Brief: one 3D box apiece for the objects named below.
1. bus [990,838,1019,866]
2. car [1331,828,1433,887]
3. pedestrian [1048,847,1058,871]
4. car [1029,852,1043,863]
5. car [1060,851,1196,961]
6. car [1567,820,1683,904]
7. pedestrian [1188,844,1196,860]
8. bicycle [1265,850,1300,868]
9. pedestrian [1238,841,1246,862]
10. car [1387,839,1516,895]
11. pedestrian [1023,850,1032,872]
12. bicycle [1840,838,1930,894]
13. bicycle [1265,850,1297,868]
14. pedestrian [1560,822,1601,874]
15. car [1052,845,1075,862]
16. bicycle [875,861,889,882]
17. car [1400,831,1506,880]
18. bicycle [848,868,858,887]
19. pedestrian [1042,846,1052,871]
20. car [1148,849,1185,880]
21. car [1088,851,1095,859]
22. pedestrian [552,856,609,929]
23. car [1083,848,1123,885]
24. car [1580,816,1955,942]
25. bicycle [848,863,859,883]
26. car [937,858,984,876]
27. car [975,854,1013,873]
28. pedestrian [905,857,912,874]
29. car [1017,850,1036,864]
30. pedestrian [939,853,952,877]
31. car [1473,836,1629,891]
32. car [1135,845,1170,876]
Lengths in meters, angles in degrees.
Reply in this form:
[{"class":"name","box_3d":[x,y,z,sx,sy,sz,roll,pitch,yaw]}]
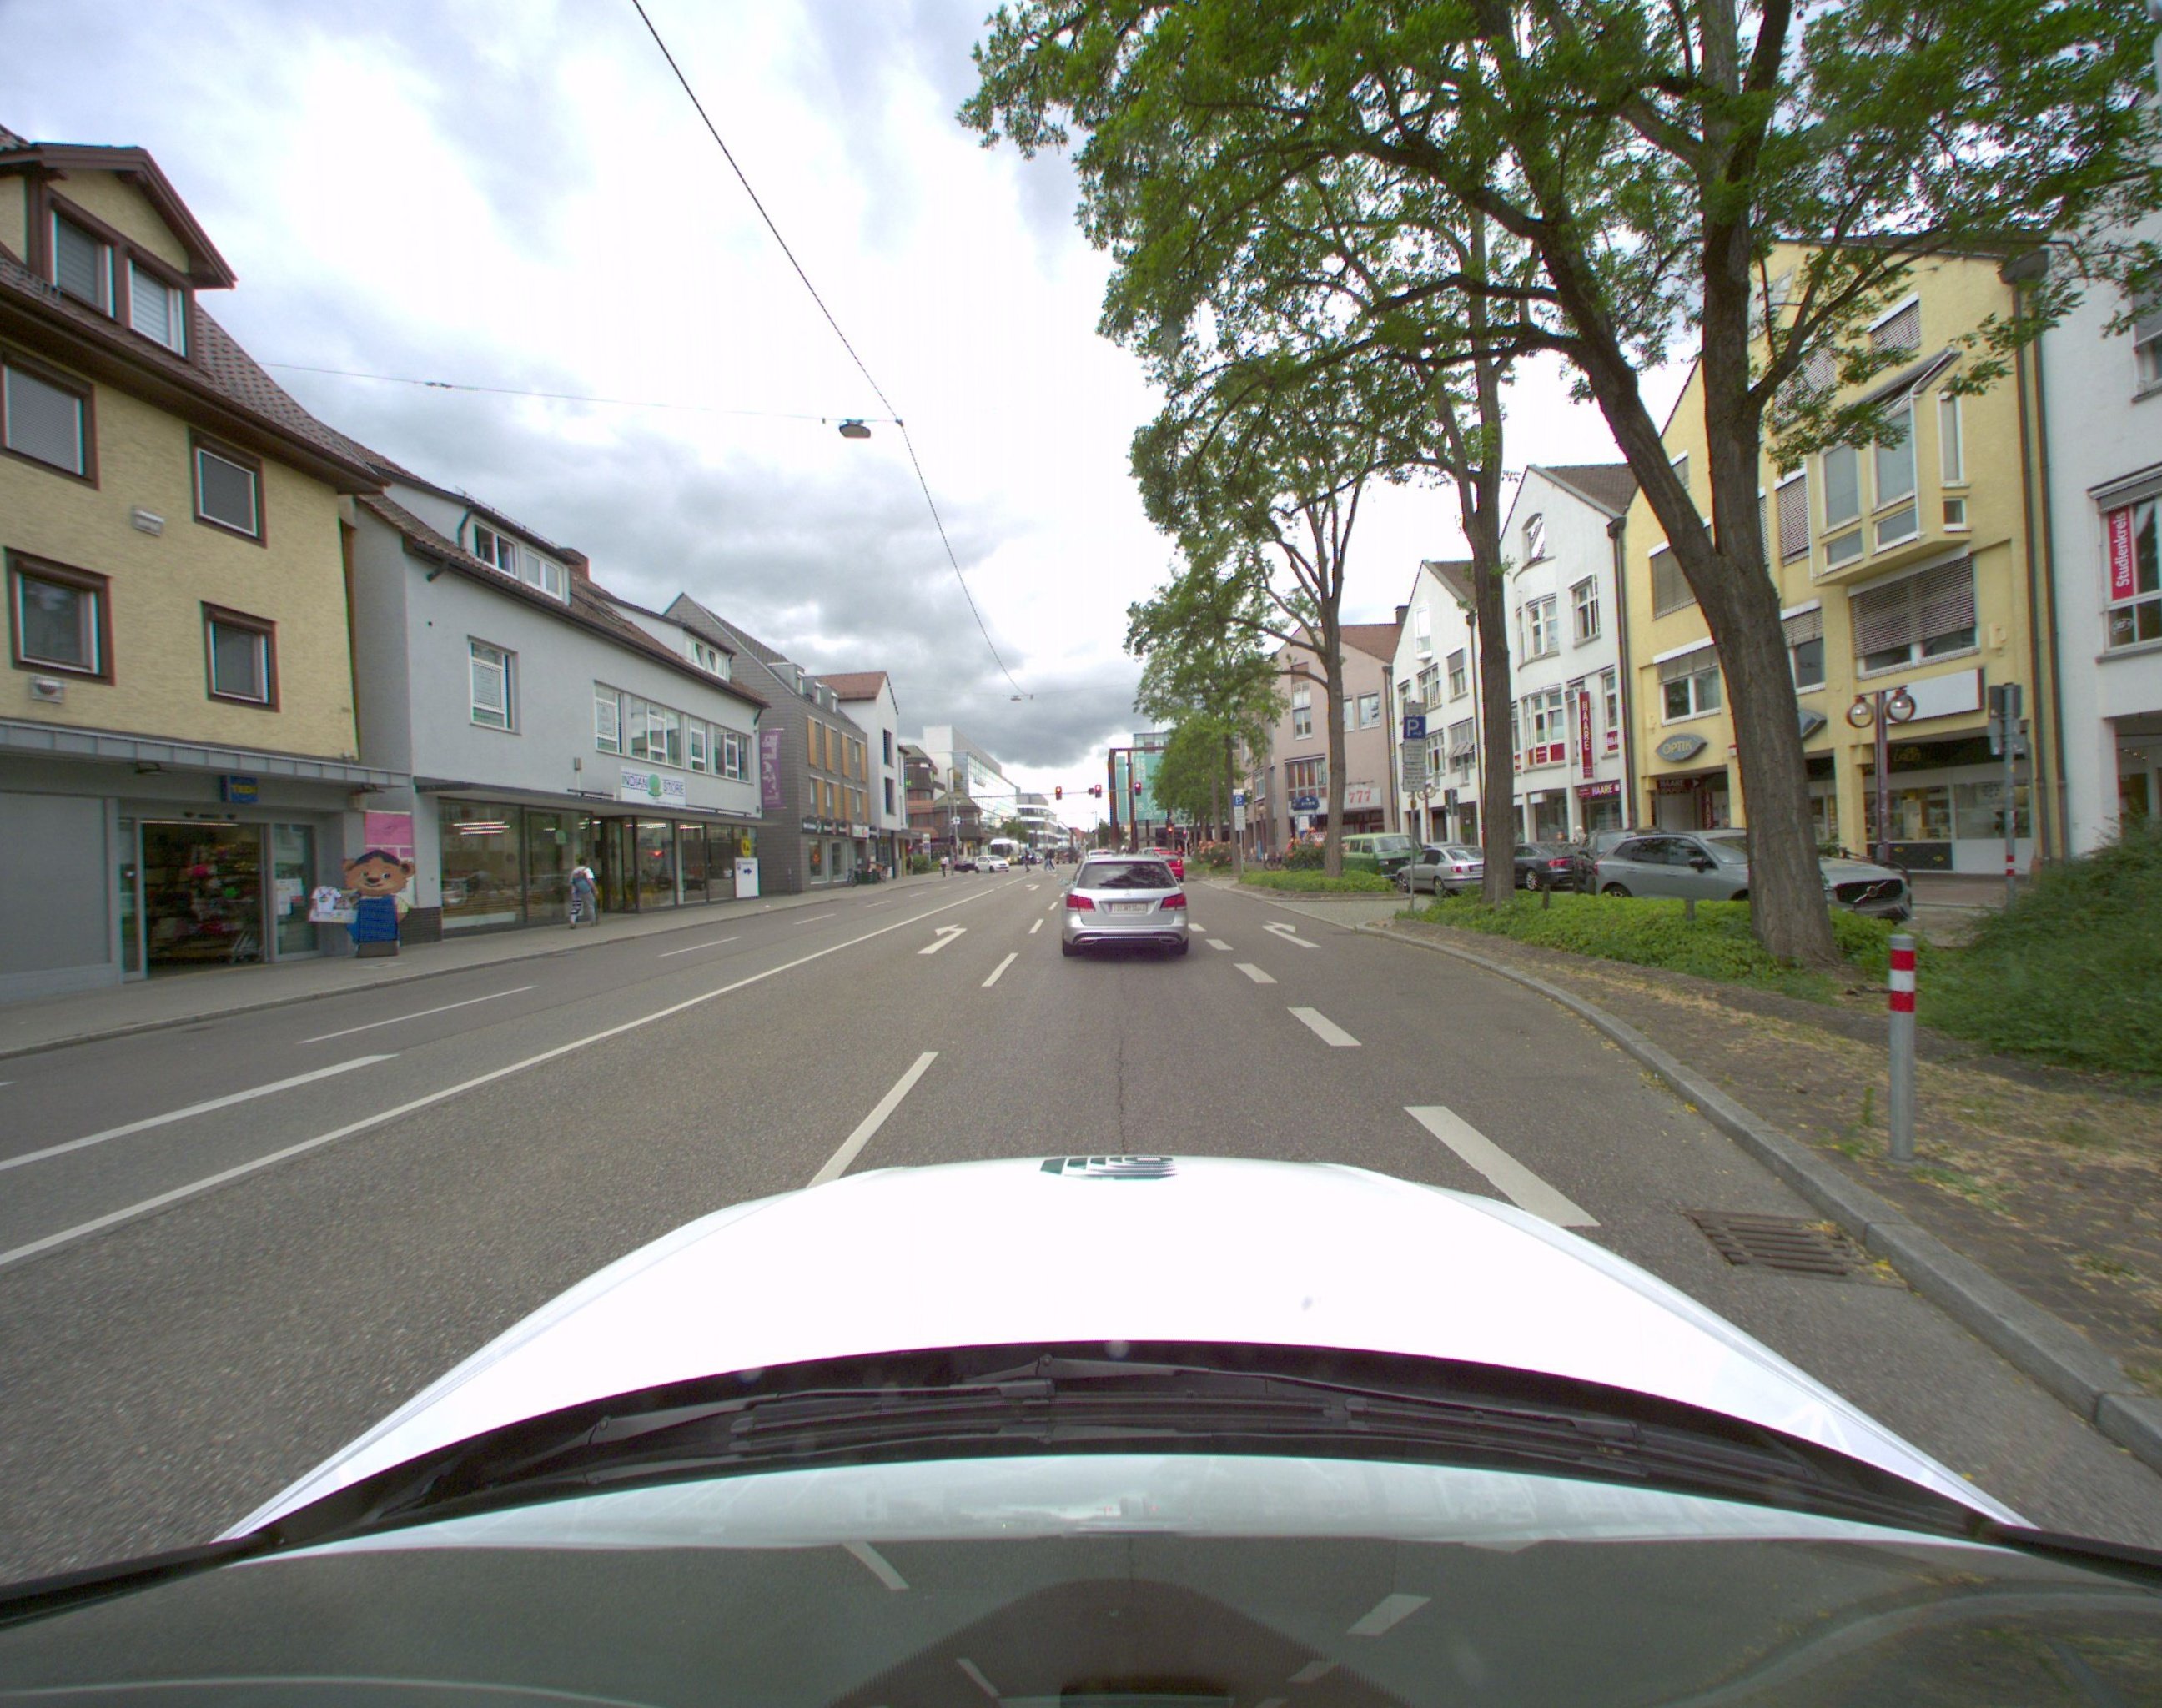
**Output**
[{"class":"bus","box_3d":[-9.639,-0.241,103.363,2.678,3.261,8.653,-2,0,0]},{"class":"car","box_3d":[10.779,0.100,29.526,1.874,1.876,4.604,-4,0,0]},{"class":"pedestrian","box_3d":[-2.149,0.351,61.816,0.642,1.775,0.571,-2,0,5]},{"class":"car","box_3d":[-5.993,0.433,108.108,1.550,1.392,3.288,-2,0,0]},{"class":"car","box_3d":[0.596,0.690,13.030,1.810,1.448,4.367,0,0,-1]},{"class":"car","box_3d":[12.577,0.110,19.102,1.835,1.670,4.693,-3,0,29]},{"class":"pedestrian","box_3d":[12.029,-0.229,88.330,0.652,1.650,0.557,-2,0,-13]},{"class":"bicycle","box_3d":[11.785,0.307,47.591,1.892,0.997,0.468,-2,0,5]},{"class":"pedestrian","box_3d":[14.215,-0.228,71.897,0.566,1.775,0.648,-2,0,5]},{"class":"car","box_3d":[10.856,0.349,24.252,1.757,1.450,4.418,-2,0,0]},{"class":"pedestrian","box_3d":[-4.068,0.525,61.970,0.556,1.650,0.653,-2,0,-5]},{"class":"bicycle","box_3d":[15.779,0.226,16.018,0.390,1.044,1.379,-3,0,1]},{"class":"bicycle","box_3d":[11.824,0.277,48.137,1.760,0.997,0.447,-2,0,5]},{"class":"pedestrian","box_3d":[16.796,-0.209,27.388,0.786,1.659,0.819,-4,0,1]},{"class":"car","box_3d":[-2.108,-0.095,98.680,1.983,1.949,4.961,-2,0,7]},{"class":"bicycle","box_3d":[-12.171,1.069,49.896,0.385,1.186,1.825,-2,0,-1]},{"class":"car","box_3d":[13.431,0.043,29.722,1.790,1.542,4.393,-4,0,0]},{"class":"bicycle","box_3d":[-12.015,1.225,42.933,0.326,0.954,1.478,-2,0,-9]},{"class":"pedestrian","box_3d":[-2.540,0.342,61.213,0.644,1.790,0.684,-2,0,1]},{"class":"car","box_3d":[4.137,0.480,39.791,1.581,1.443,3.349,0,0,2]},{"class":"car","box_3d":[2.567,0.232,199.758,1.710,1.706,4.065,-2,0,0]},{"class":"pedestrian","box_3d":[-12.127,0.919,19.759,0.751,1.705,0.981,1,0,1]},{"class":"car","box_3d":[0.970,0.495,35.944,1.634,1.527,3.395,-1,0,1]},{"class":"car","box_3d":[10.661,0.319,13.278,1.988,1.595,4.761,-2,0,-2]},{"class":"bicycle","box_3d":[-13.222,1.104,47.325,0.386,1.127,1.286,-2,0,-8]},{"class":"car","box_3d":[-11.583,1.258,78.589,4.171,1.530,1.791,-2,0,1]},{"class":"car","box_3d":[-7.365,0.811,68.745,1.587,1.488,3.424,-3,0,-38]},{"class":"pedestrian","box_3d":[-14.762,0.957,69.775,0.448,1.428,0.441,-2,0,2]},{"class":"car","box_3d":[-6.656,0.332,100.681,1.987,1.706,4.065,-2,0,0]},{"class":"pedestrian","box_3d":[-9.704,0.776,58.151,0.725,1.610,0.753,-2,0,1]},{"class":"car","box_3d":[13.674,0.244,24.079,1.991,1.376,4.418,-3,0,0]},{"class":"car","box_3d":[3.986,0.354,45.810,1.581,1.634,3.916,0,0,0]}]
